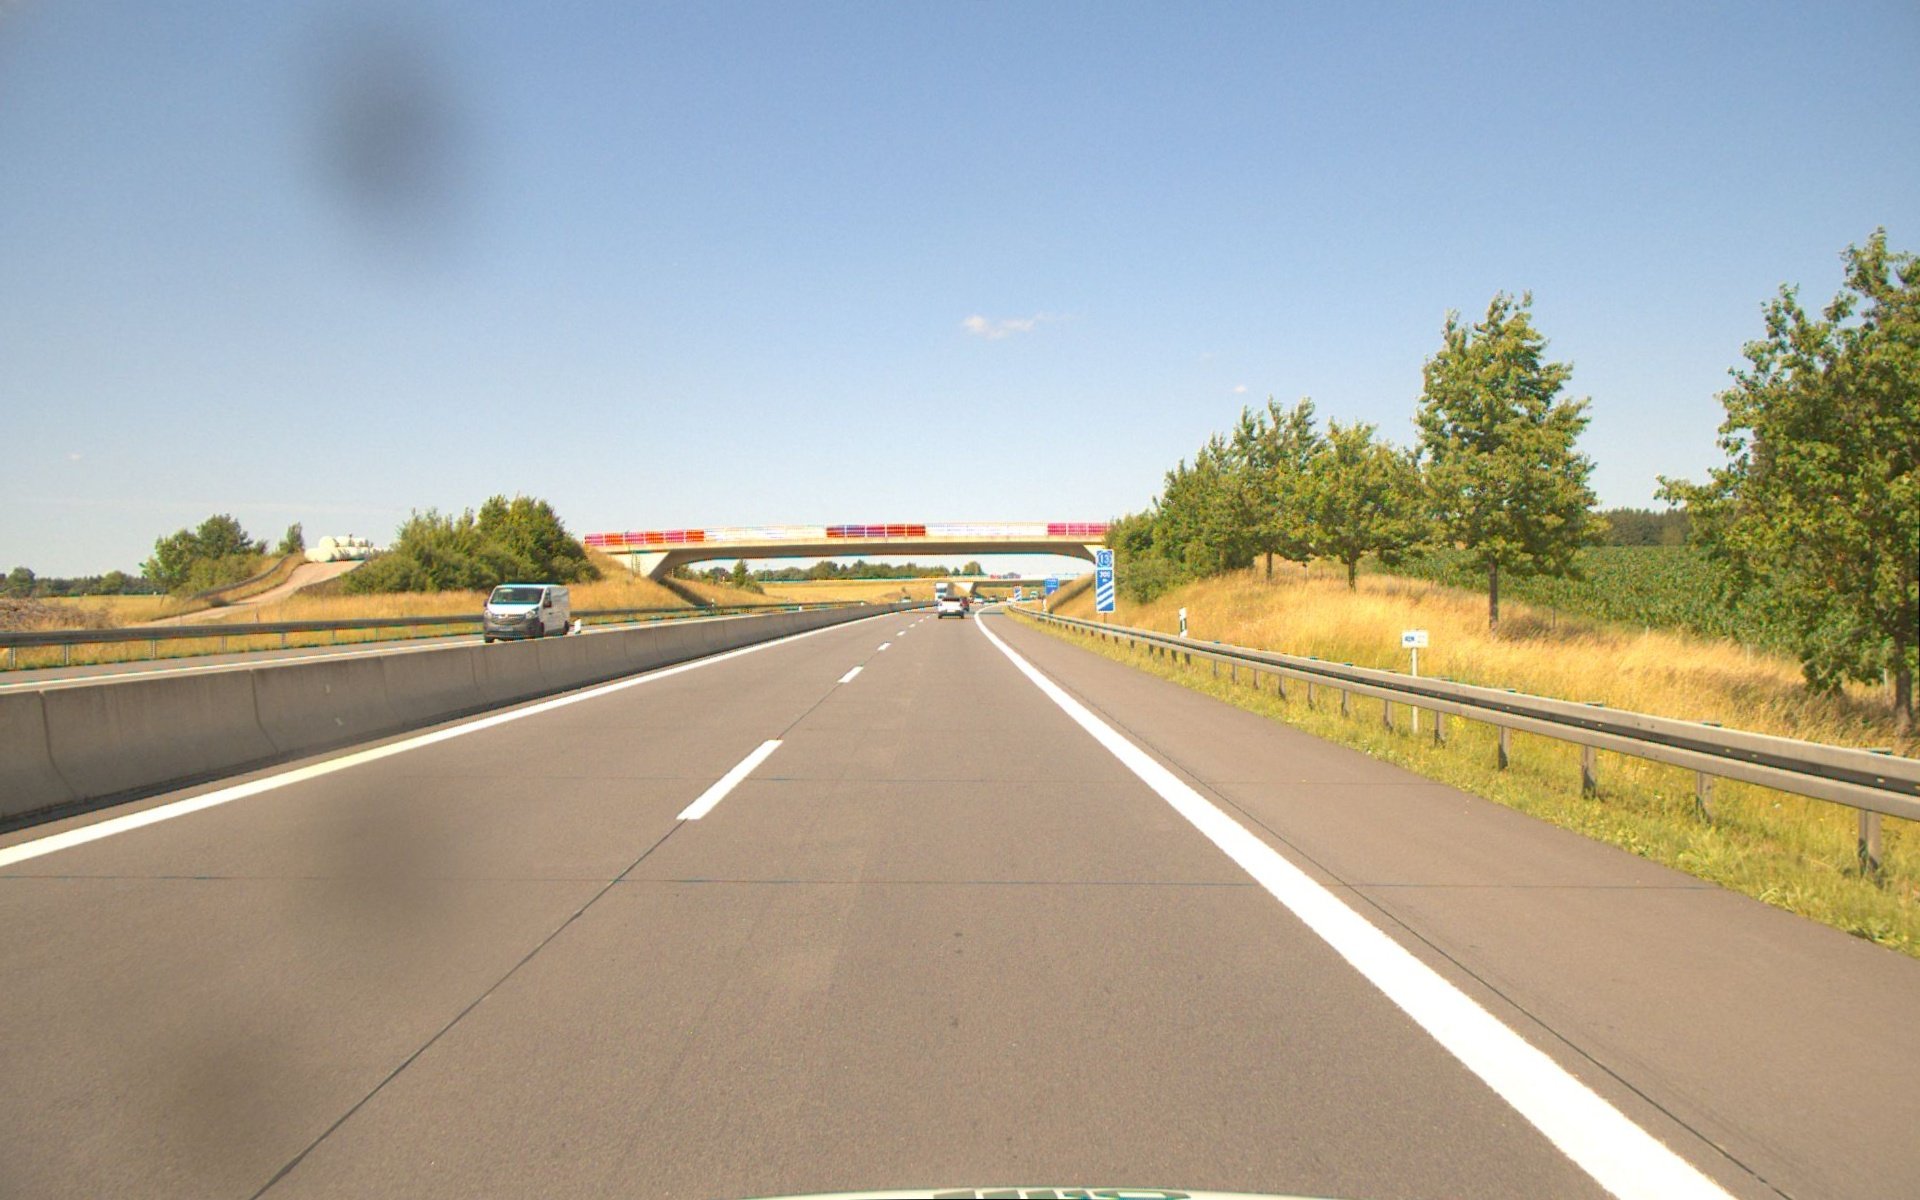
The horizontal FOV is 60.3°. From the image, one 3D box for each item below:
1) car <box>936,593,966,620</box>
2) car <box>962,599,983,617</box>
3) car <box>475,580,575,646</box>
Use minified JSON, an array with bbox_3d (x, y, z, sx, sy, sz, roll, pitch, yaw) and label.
[{"bbox_3d":[-0.654,0.451,116.023,1.953,1.761,4.868,-1,0,-1],"label":"car"},{"bbox_3d":[1.271,0.764,168.045,1.952,1.761,4.870,-1,0,2],"label":"car"},{"bbox_3d":[-14.635,0.448,55.983,1.953,2.049,5.713,1,-1,-2],"label":"car"}]
